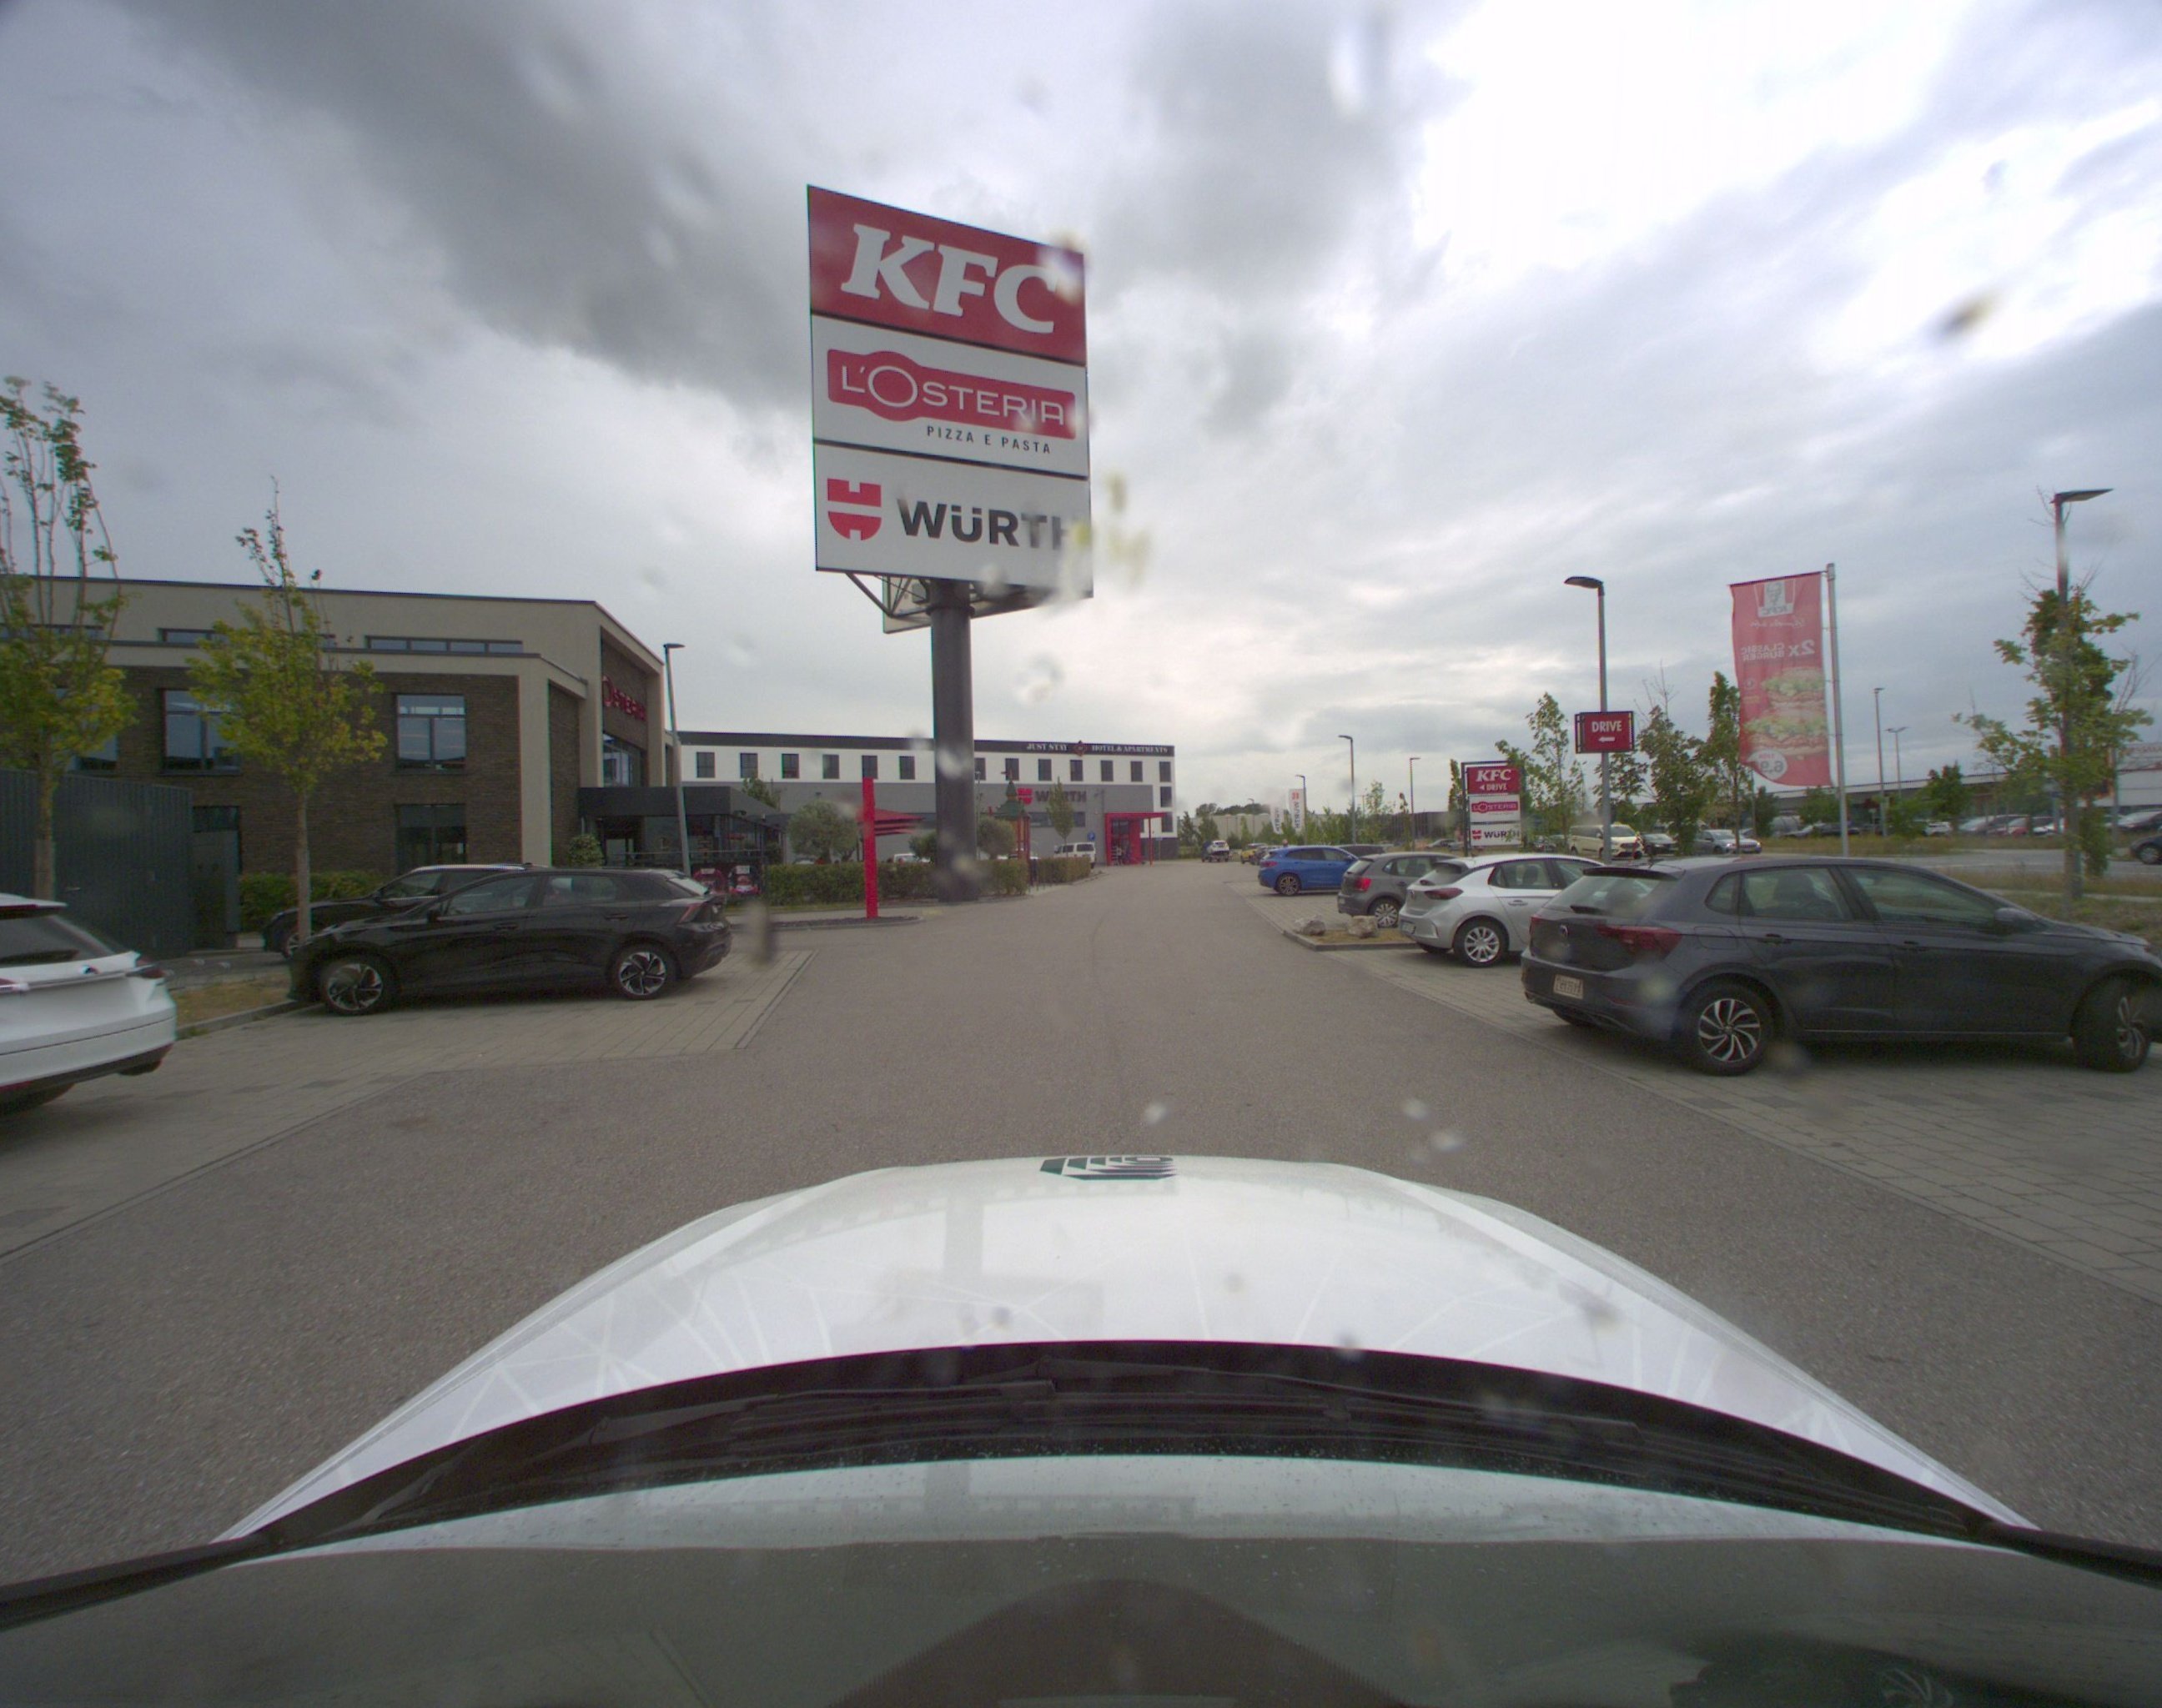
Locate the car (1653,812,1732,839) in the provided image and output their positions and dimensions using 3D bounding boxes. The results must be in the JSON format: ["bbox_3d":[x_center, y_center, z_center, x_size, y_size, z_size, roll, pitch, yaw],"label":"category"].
[{"bbox_3d":[58.496,-2.688,78.019,5.548,2.122,2.345,-3,0,7],"label":"car"}]

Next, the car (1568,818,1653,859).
[{"bbox_3d":[29.991,-0.879,46.337,1.982,2.086,5.242,-2,1,8],"label":"car"}]

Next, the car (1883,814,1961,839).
[{"bbox_3d":[72.086,-2.344,69.898,1.996,1.837,4.168,-3,0,-13],"label":"car"}]

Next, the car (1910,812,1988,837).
[{"bbox_3d":[74.916,-2.516,70.388,1.995,1.837,4.170,-3,0,-11],"label":"car"}]

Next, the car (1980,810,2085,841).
[{"bbox_3d":[56.421,-1.675,48.349,4.030,1.539,1.907,-3,0,-2],"label":"car"}]

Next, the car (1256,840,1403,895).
[{"bbox_3d":[7.718,0.407,25.668,4.179,1.544,1.869,-2,0,7],"label":"car"}]

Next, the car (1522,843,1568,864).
[{"bbox_3d":[31.008,-0.065,54.446,1.454,1.336,3.167,-2,0,5],"label":"car"}]

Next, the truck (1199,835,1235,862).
[{"bbox_3d":[14.138,-0.480,85.142,2.325,2.407,7.890,-1,-2,-1],"label":"truck"}]

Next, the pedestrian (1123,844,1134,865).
[{"bbox_3d":[4.088,0.033,69.896,0.678,1.802,0.875,0,0,-16],"label":"pedestrian"}]

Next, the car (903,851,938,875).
[{"bbox_3d":[-11.537,0.669,58.447,1.743,1.552,4.234,-3,0,-20],"label":"car"}]

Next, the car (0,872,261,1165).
[{"bbox_3d":[-7.687,0.917,4.364,4.170,1.486,1.991,-2,-1,-13],"label":"car"}]

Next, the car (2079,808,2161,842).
[{"bbox_3d":[55.178,-1.527,42.417,4.030,1.539,1.999,-3,0,-2],"label":"car"}]

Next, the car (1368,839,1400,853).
[{"bbox_3d":[37.963,-0.963,102.259,1.793,1.552,4.846,-3,0,-5],"label":"car"}]

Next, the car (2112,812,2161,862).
[{"bbox_3d":[33.581,-0.536,23.629,1.914,1.486,4.428,-3,0,6],"label":"car"}]

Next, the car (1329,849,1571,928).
[{"bbox_3d":[7.031,0.636,15.868,3.967,1.428,1.730,-1,0,5],"label":"car"}]

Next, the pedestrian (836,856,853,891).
[{"bbox_3d":[-8.317,0.667,28.642,0.419,1.199,0.455,-3,0,-8],"label":"pedestrian"}]

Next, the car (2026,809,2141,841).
[{"bbox_3d":[56.153,-1.597,45.677,4.044,1.501,1.866,-3,0,2],"label":"car"}]

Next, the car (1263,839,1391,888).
[{"bbox_3d":[8.427,0.326,28.207,4.037,1.459,1.781,-3,1,9],"label":"car"}]

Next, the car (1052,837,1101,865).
[{"bbox_3d":[-0.367,-0.194,62.111,2.066,1.855,4.026,-6,1,-26],"label":"car"}]

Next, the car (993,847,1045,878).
[{"bbox_3d":[-3.784,0.534,48.695,1.999,1.650,4.549,-3,0,-18],"label":"car"}]

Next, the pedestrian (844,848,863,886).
[{"bbox_3d":[-10.849,0.637,38.840,0.742,1.748,0.700,-3,0,-16],"label":"pedestrian"}]

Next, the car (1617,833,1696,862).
[{"bbox_3d":[33.118,-0.381,47.010,1.841,1.499,4.292,-2,0,6],"label":"car"}]

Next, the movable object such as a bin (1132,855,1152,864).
[{"bbox_3d":[5.257,0.483,70.347,1.491,0.704,0.960,-1,-1,-17],"label":"movable object such as a bin"}]

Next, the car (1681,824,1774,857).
[{"bbox_3d":[32.137,-0.660,40.617,1.814,1.459,4.010,-3,0,8],"label":"car"}]

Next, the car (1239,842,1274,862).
[{"bbox_3d":[14.741,-0.148,68.533,1.853,1.650,3.994,-1,0,-4],"label":"car"}]

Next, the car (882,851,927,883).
[{"bbox_3d":[-10.160,0.747,46.583,1.999,1.650,4.549,-3,0,-18],"label":"car"}]

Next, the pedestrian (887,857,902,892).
[{"bbox_3d":[-6.564,0.701,28.659,0.419,1.199,0.455,-3,0,-8],"label":"pedestrian"}]

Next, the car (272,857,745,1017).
[{"bbox_3d":[-6.293,0.846,9.494,4.114,1.528,1.733,-1,-1,-13],"label":"car"}]

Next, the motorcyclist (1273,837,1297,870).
[{"bbox_3d":[9.520,-0.001,38.039,0.934,1.489,0.831,-2,-1,4],"label":"motorcyclist"}]

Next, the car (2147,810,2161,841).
[{"bbox_3d":[54.954,-1.510,39.453,4.030,1.539,1.999,-3,0,-2],"label":"car"}]

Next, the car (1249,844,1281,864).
[{"bbox_3d":[14.025,-0.008,62.160,1.744,1.469,4.112,-1,0,4],"label":"car"}]

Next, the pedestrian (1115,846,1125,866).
[{"bbox_3d":[3.326,0.174,69.629,0.624,1.751,0.901,-2,0,-14],"label":"pedestrian"}]

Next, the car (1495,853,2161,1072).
[{"bbox_3d":[5.450,0.704,6.147,3.782,1.412,1.739,0,0,0],"label":"car"}]

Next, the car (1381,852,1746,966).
[{"bbox_3d":[6.365,0.685,11.118,3.911,1.412,1.841,0,0,2],"label":"car"}]

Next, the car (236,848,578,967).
[{"bbox_3d":[-11.102,0.820,13.760,3.996,1.596,1.727,-3,0,-16],"label":"car"}]
